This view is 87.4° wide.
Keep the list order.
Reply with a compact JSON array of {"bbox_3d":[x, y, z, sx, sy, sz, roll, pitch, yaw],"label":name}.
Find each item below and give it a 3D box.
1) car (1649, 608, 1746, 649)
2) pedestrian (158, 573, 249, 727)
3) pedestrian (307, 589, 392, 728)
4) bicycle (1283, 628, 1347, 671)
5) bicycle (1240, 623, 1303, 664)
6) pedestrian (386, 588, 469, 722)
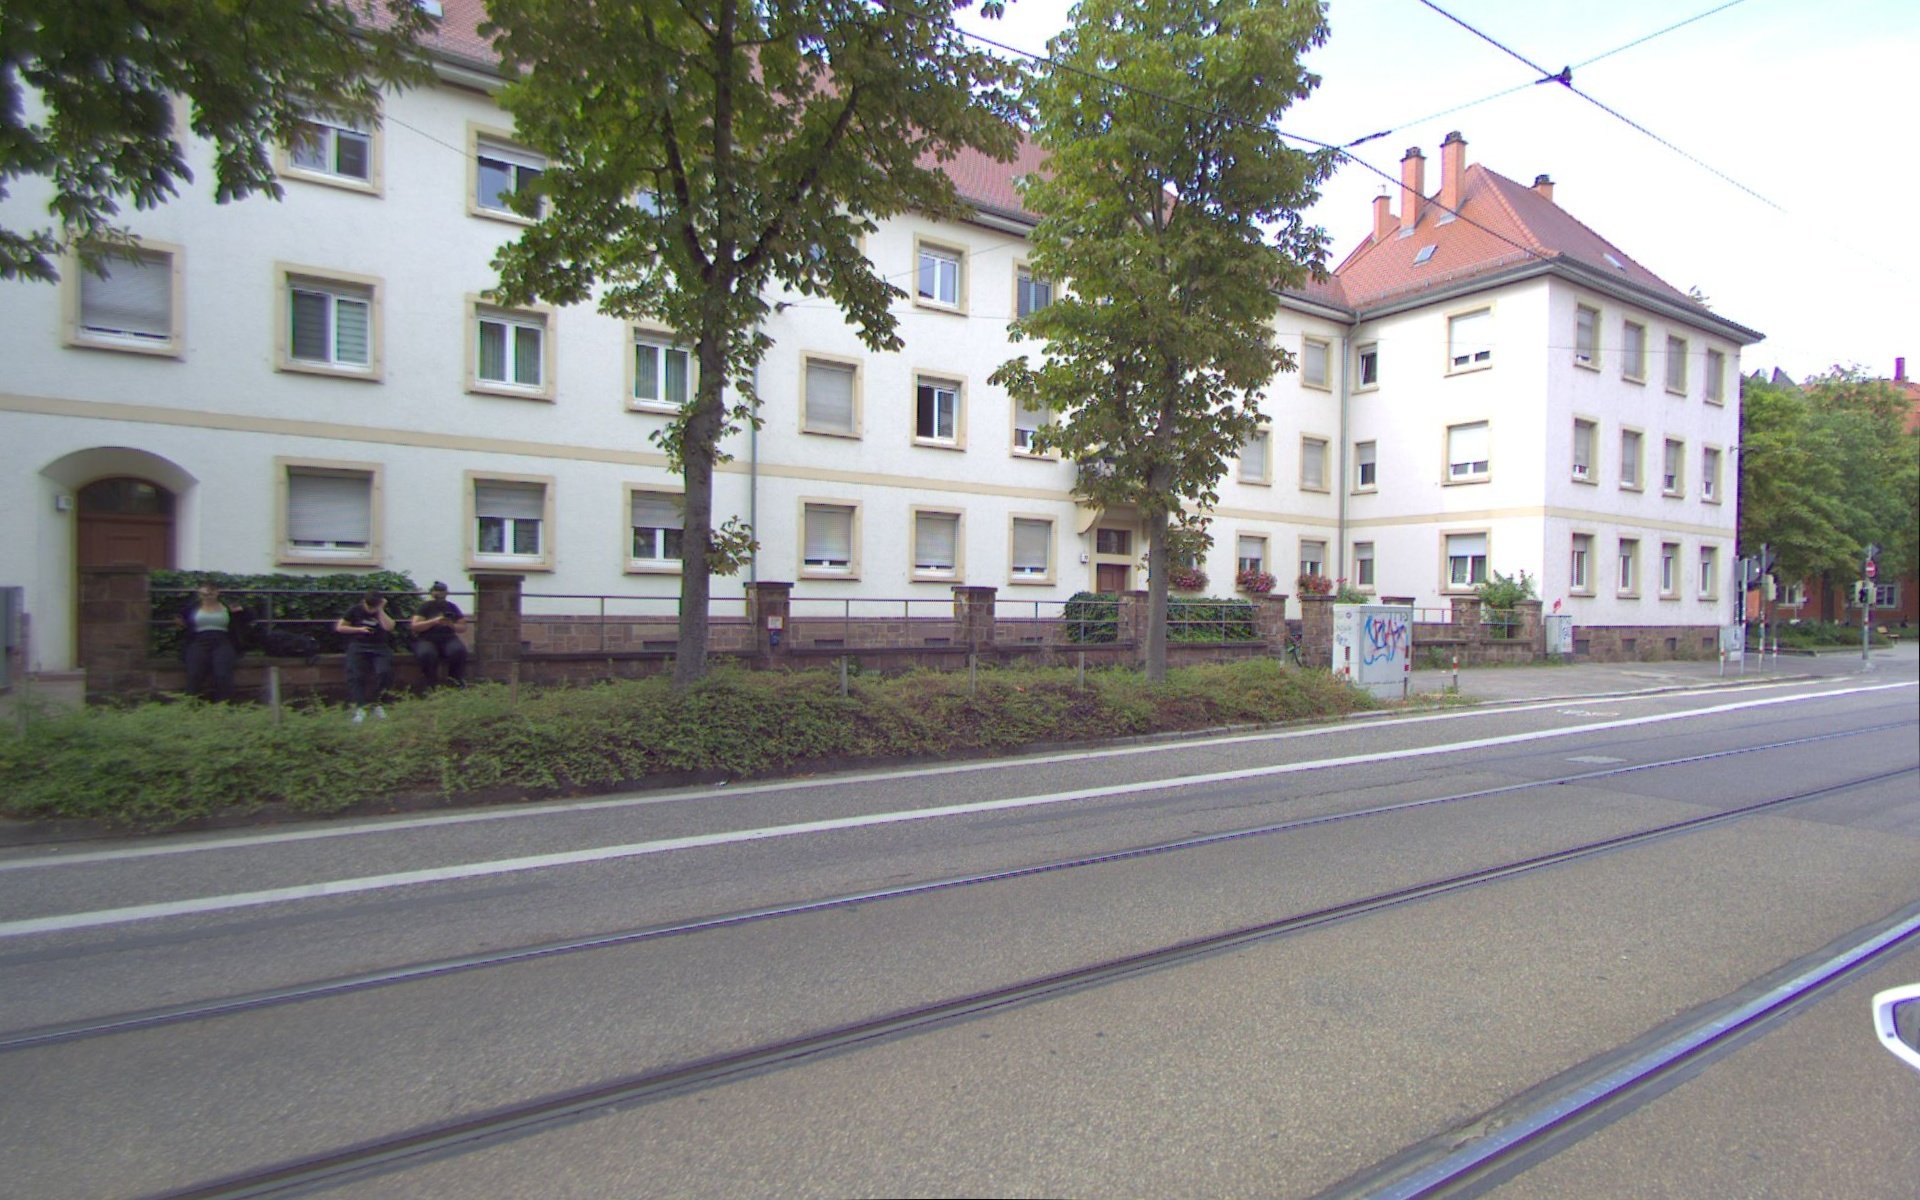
[{"bbox_3d":[33.878,1.336,46.301,1.804,1.743,4.163,2,-2,7],"label":"car"},{"bbox_3d":[-7.908,0.497,10.509,0.726,1.532,0.826,0,0,-38],"label":"pedestrian"},{"bbox_3d":[-6.836,0.624,11.246,0.726,1.484,0.826,0,0,-38],"label":"pedestrian"},{"bbox_3d":[8.112,1.111,22.933,1.654,0.927,0.475,1,0,-33],"label":"bicycle"},{"bbox_3d":[7.313,1.003,23.562,1.654,0.927,0.475,1,0,-33],"label":"bicycle"},{"bbox_3d":[-6.220,0.612,11.726,0.726,1.484,0.826,0,0,-38],"label":"pedestrian"}]
